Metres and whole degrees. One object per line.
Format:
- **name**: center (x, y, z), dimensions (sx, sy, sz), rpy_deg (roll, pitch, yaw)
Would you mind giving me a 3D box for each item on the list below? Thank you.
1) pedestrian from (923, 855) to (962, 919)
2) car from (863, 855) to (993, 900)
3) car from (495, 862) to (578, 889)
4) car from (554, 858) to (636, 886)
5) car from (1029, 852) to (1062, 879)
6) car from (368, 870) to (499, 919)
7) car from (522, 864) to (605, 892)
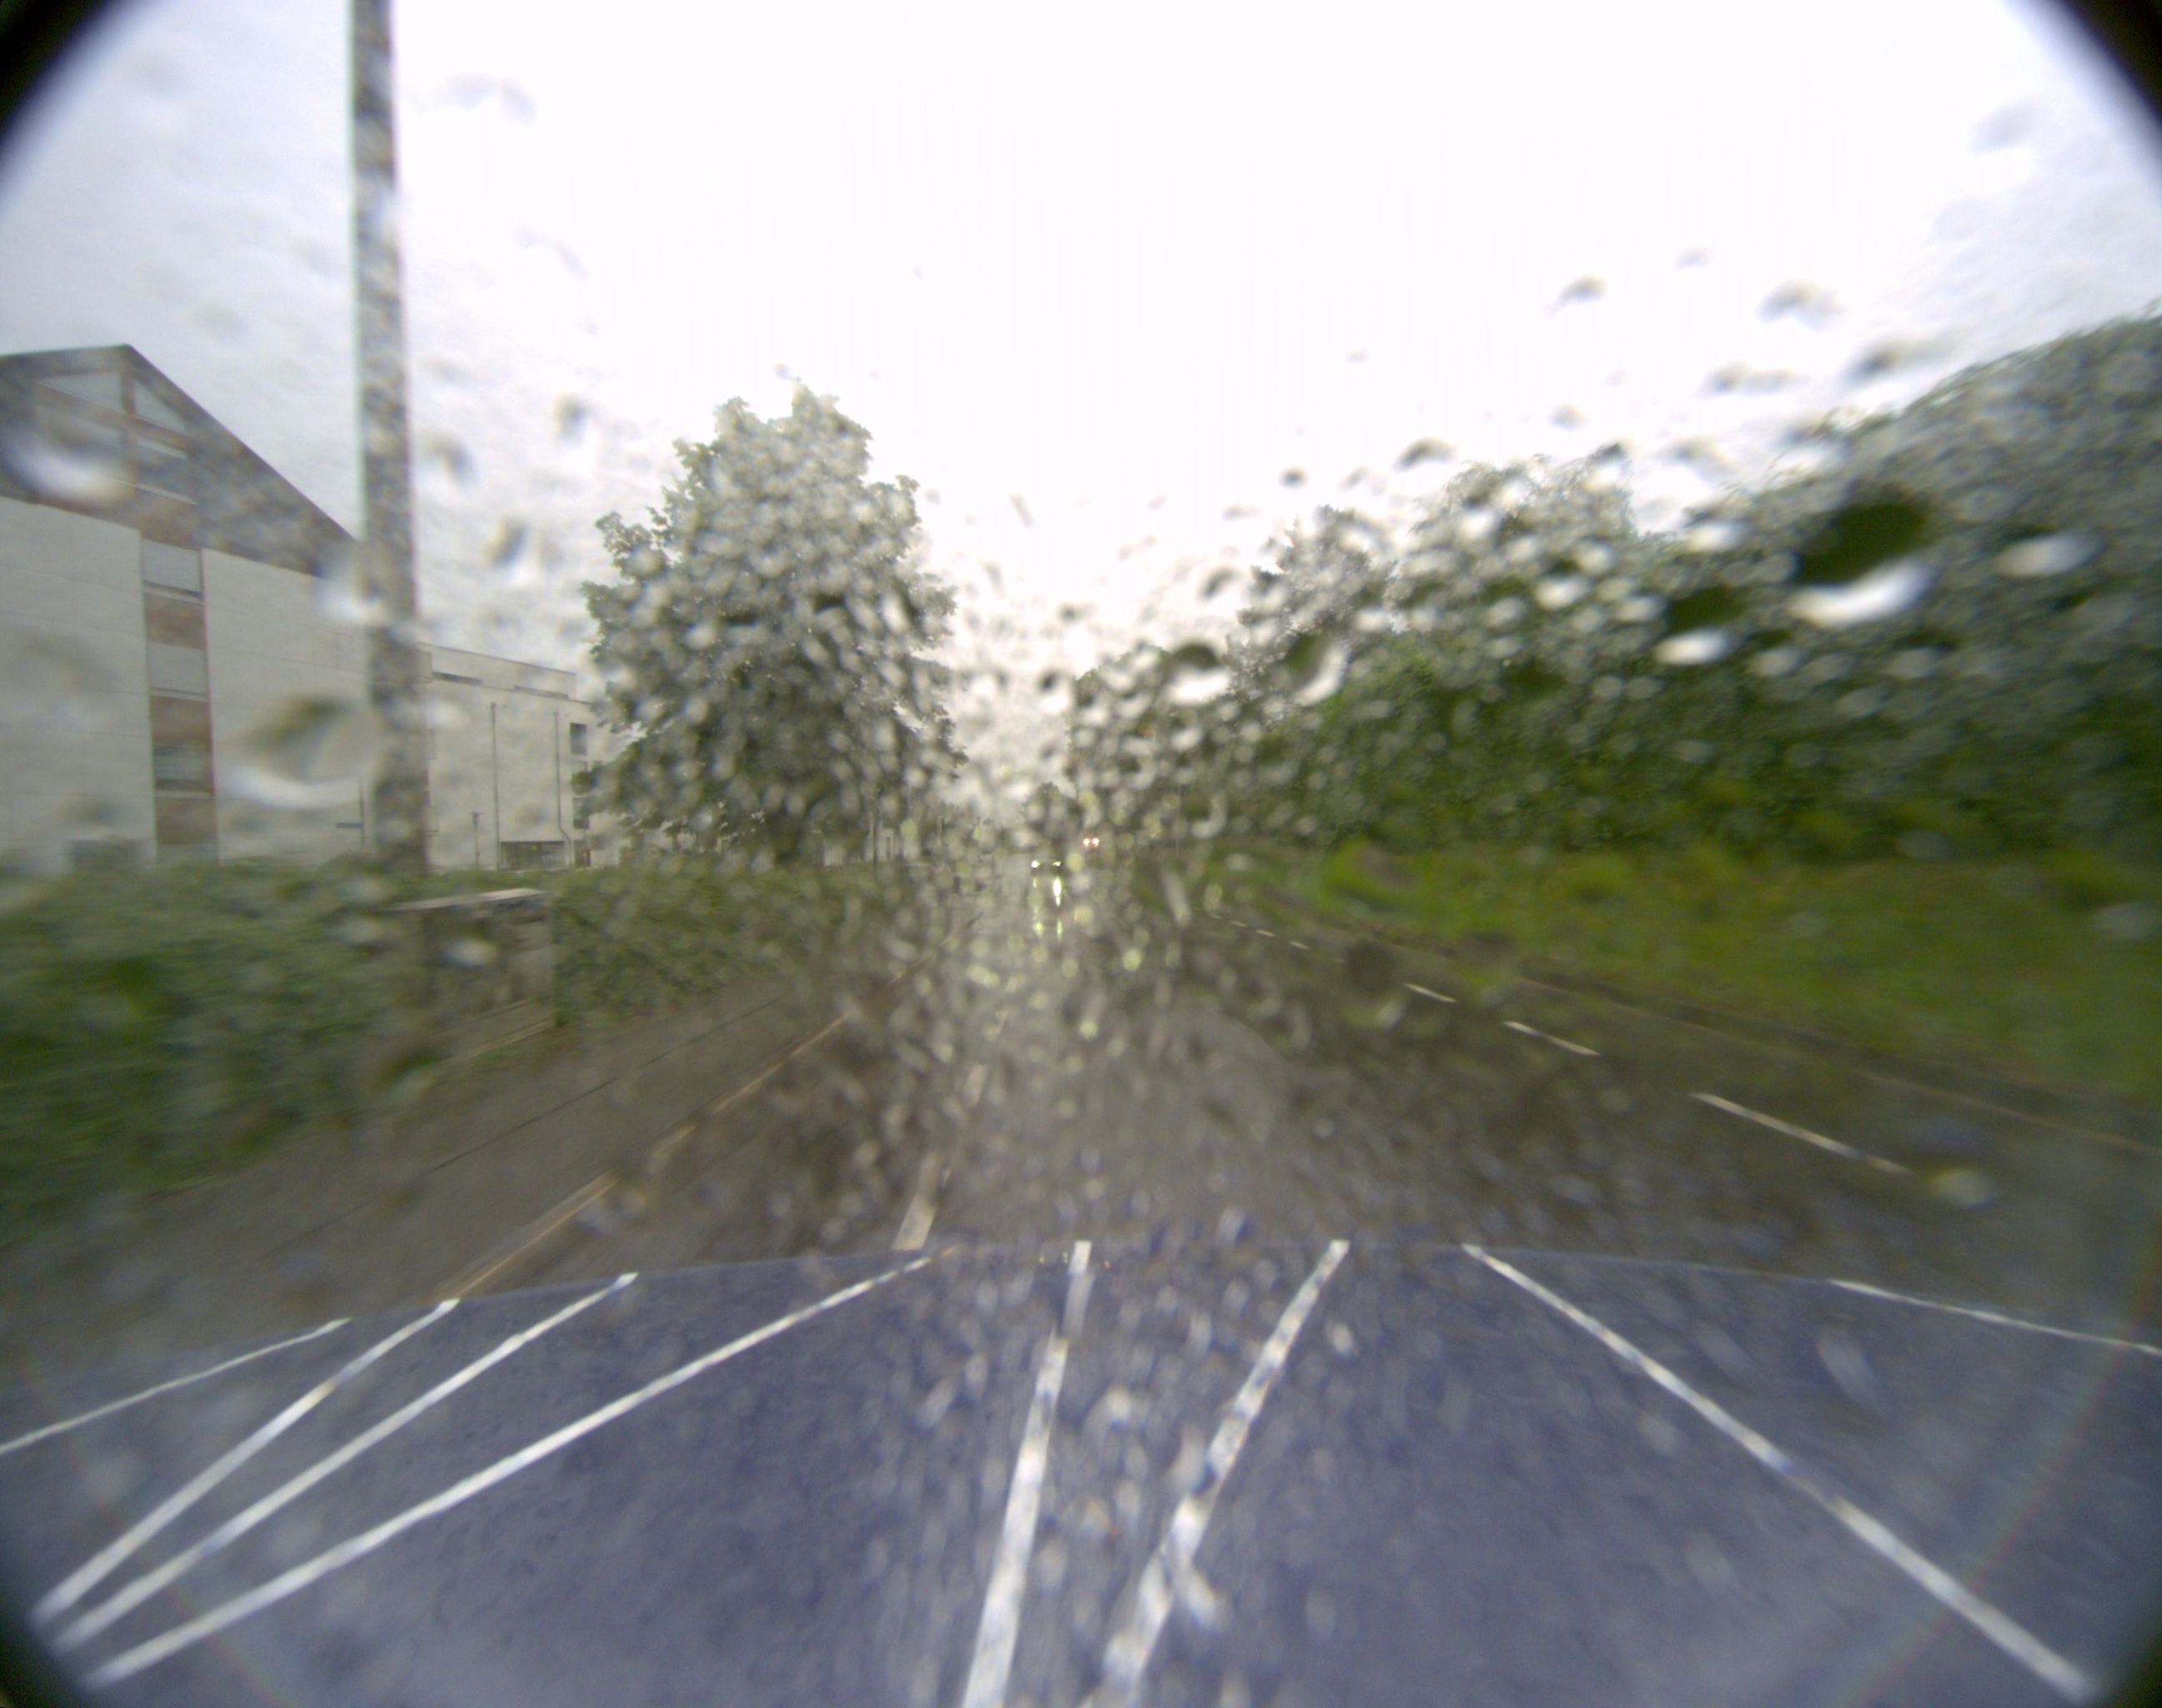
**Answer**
- **pedestrian**: center (-3.373, 0.780, 18.559), dimensions (0.770, 1.517, 0.873), rpy_deg (1, 1, 0)
- **car**: center (-6.084, 0.919, 30.627), dimensions (4.809, 1.406, 1.807), rpy_deg (-4, 1, -1)
- **car**: center (-35.087, 1.372, 49.085), dimensions (1.756, 1.414, 4.004), rpy_deg (-3, 1, 18)
- **car**: center (-30.278, 1.090, 47.504), dimensions (1.756, 1.414, 4.004), rpy_deg (-3, 1, 18)
- **car**: center (-2.384, 0.755, 50.693), dimensions (1.800, 1.543, 3.996), rpy_deg (-2, 2, -7)
- **car**: center (-26.248, 1.636, 30.868), dimensions (3.994, 1.740, 1.764), rpy_deg (-2, 2, 9)
- **car**: center (-32.783, 1.511, 48.293), dimensions (1.820, 1.414, 4.004), rpy_deg (-3, 1, 18)
